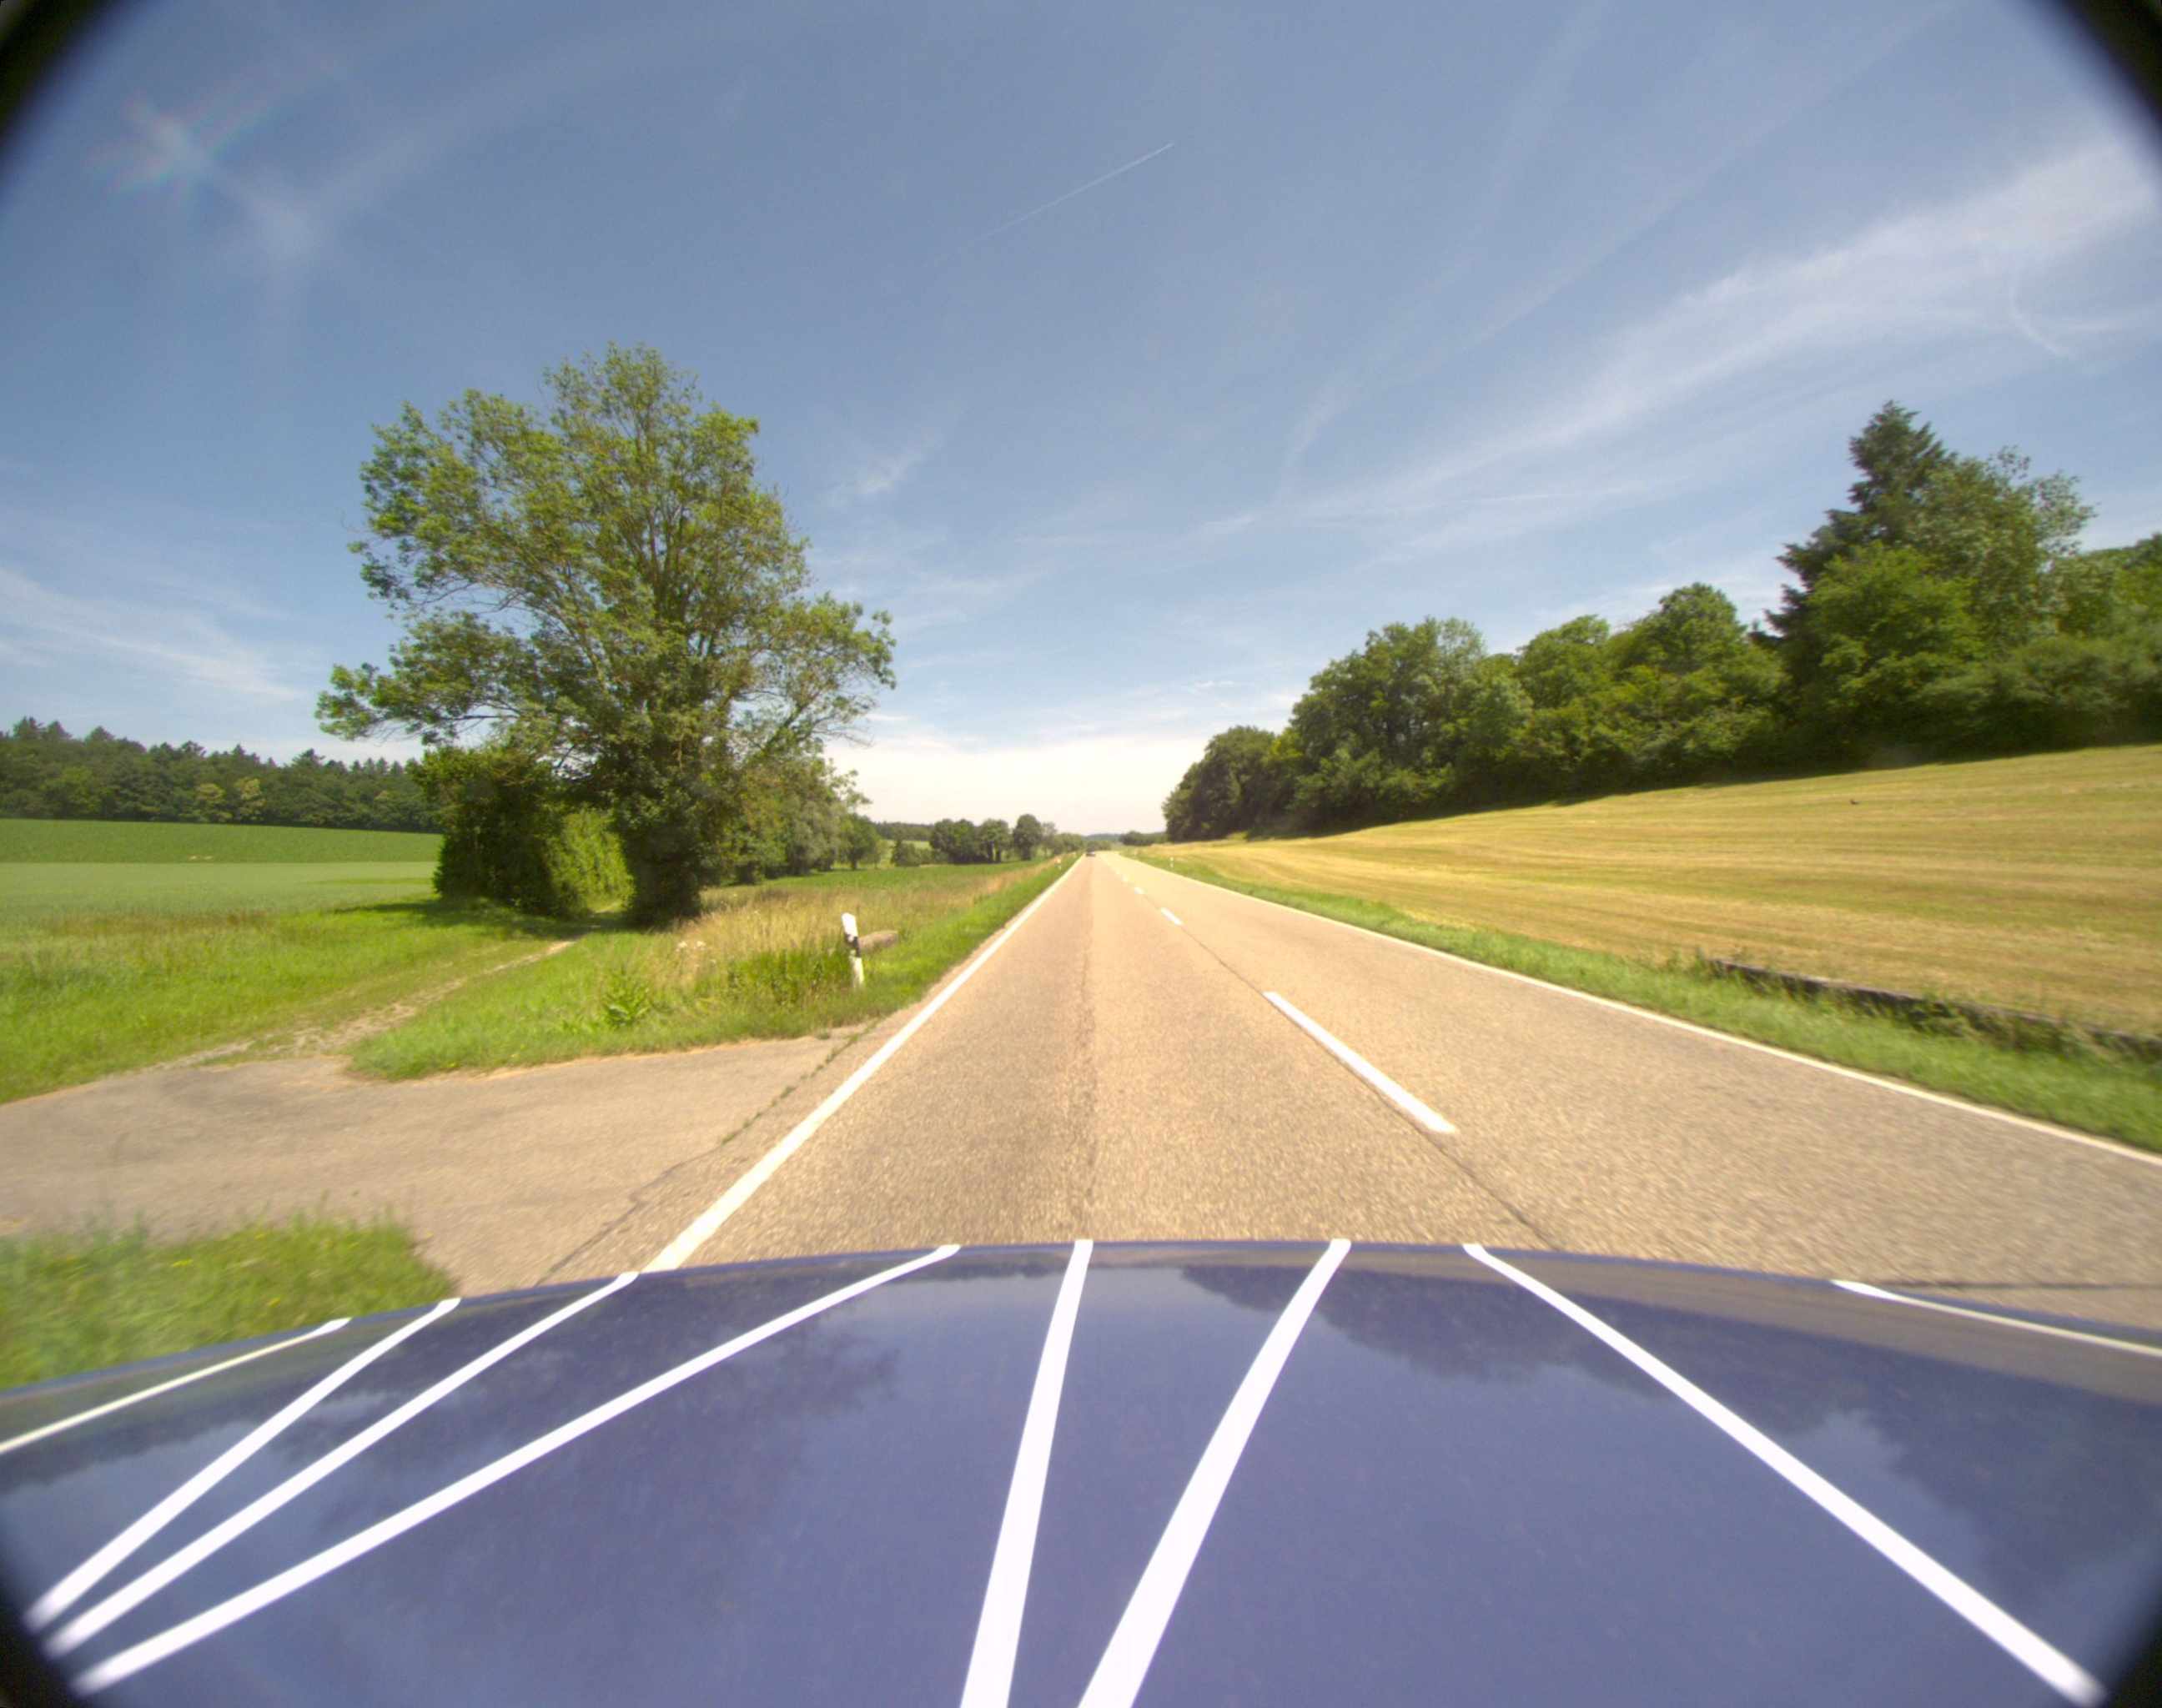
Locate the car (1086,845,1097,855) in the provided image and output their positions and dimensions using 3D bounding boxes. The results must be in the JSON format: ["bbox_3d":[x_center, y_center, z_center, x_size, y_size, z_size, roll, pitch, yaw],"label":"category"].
[{"bbox_3d":[1.914,-0.736,137.969,1.815,1.569,4.156,-2,-2,1],"label":"car"}]
